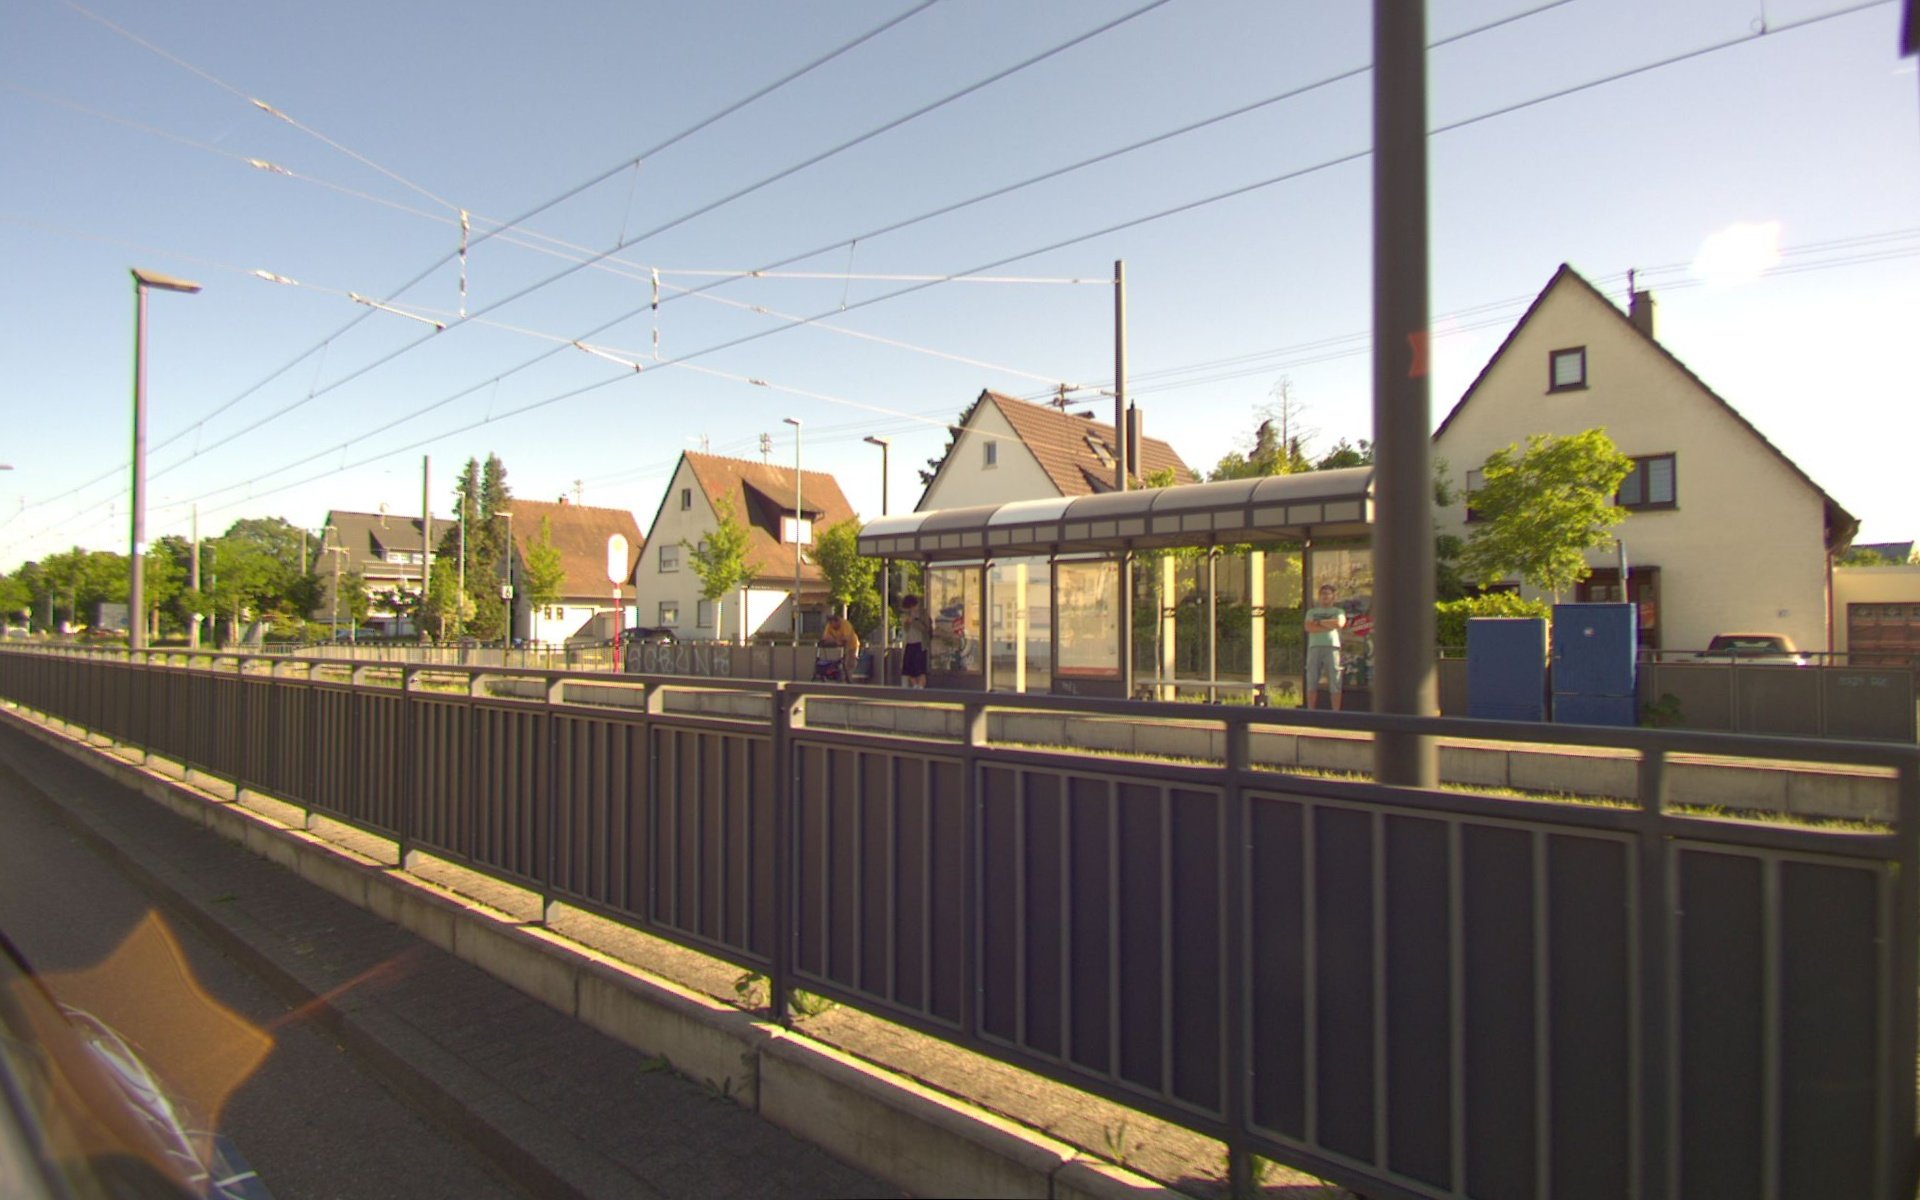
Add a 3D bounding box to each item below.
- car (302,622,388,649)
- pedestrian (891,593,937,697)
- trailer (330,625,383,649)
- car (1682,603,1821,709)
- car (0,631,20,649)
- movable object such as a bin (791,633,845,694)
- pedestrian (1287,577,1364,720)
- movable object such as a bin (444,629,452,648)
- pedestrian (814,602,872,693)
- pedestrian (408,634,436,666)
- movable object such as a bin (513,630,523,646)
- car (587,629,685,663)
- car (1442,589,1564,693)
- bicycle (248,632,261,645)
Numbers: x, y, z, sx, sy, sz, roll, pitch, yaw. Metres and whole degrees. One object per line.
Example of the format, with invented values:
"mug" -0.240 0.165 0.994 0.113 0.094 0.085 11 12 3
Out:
"car" -41.243 2.396 68.009 2.044 1.748 4.509 -1 -3 29
"pedestrian" -0.780 0.758 17.218 0.580 1.721 0.515 -2 -3 37
"trailer" -41.996 2.567 70.428 1.397 1.660 2.885 -1 -2 38
"car" 15.277 0.991 19.716 1.794 1.820 3.813 -1 0 33
"car" -107.239 4.481 113.832 4.702 1.929 1.876 -2 -3 43
"movable object such as a bin" -2.408 1.065 17.183 0.740 0.995 0.541 -2 -3 37
"pedestrian" 4.525 0.604 12.552 0.771 1.709 0.495 -2 -5 42
"movable object such as a bin" -27.858 2.089 55.041 0.333 0.973 0.295 -1 -1 37
"pedestrian" -2.045 0.826 17.689 0.748 1.547 0.669 -2 -3 37
"pedestrian" -28.139 2.601 52.953 1.085 1.653 0.955 -2 -2 41
"movable object such as a bin" -25.369 2.171 58.094 0.451 0.904 0.367 -1 -1 37
"car" -14.874 2.082 46.363 5.160 1.461 1.914 -2 -2 41
"car" 11.655 0.793 21.606 1.927 1.984 3.955 -1 0 33
"bicycle" -54.560 2.953 78.268 1.748 0.949 0.419 -1 -1 41
